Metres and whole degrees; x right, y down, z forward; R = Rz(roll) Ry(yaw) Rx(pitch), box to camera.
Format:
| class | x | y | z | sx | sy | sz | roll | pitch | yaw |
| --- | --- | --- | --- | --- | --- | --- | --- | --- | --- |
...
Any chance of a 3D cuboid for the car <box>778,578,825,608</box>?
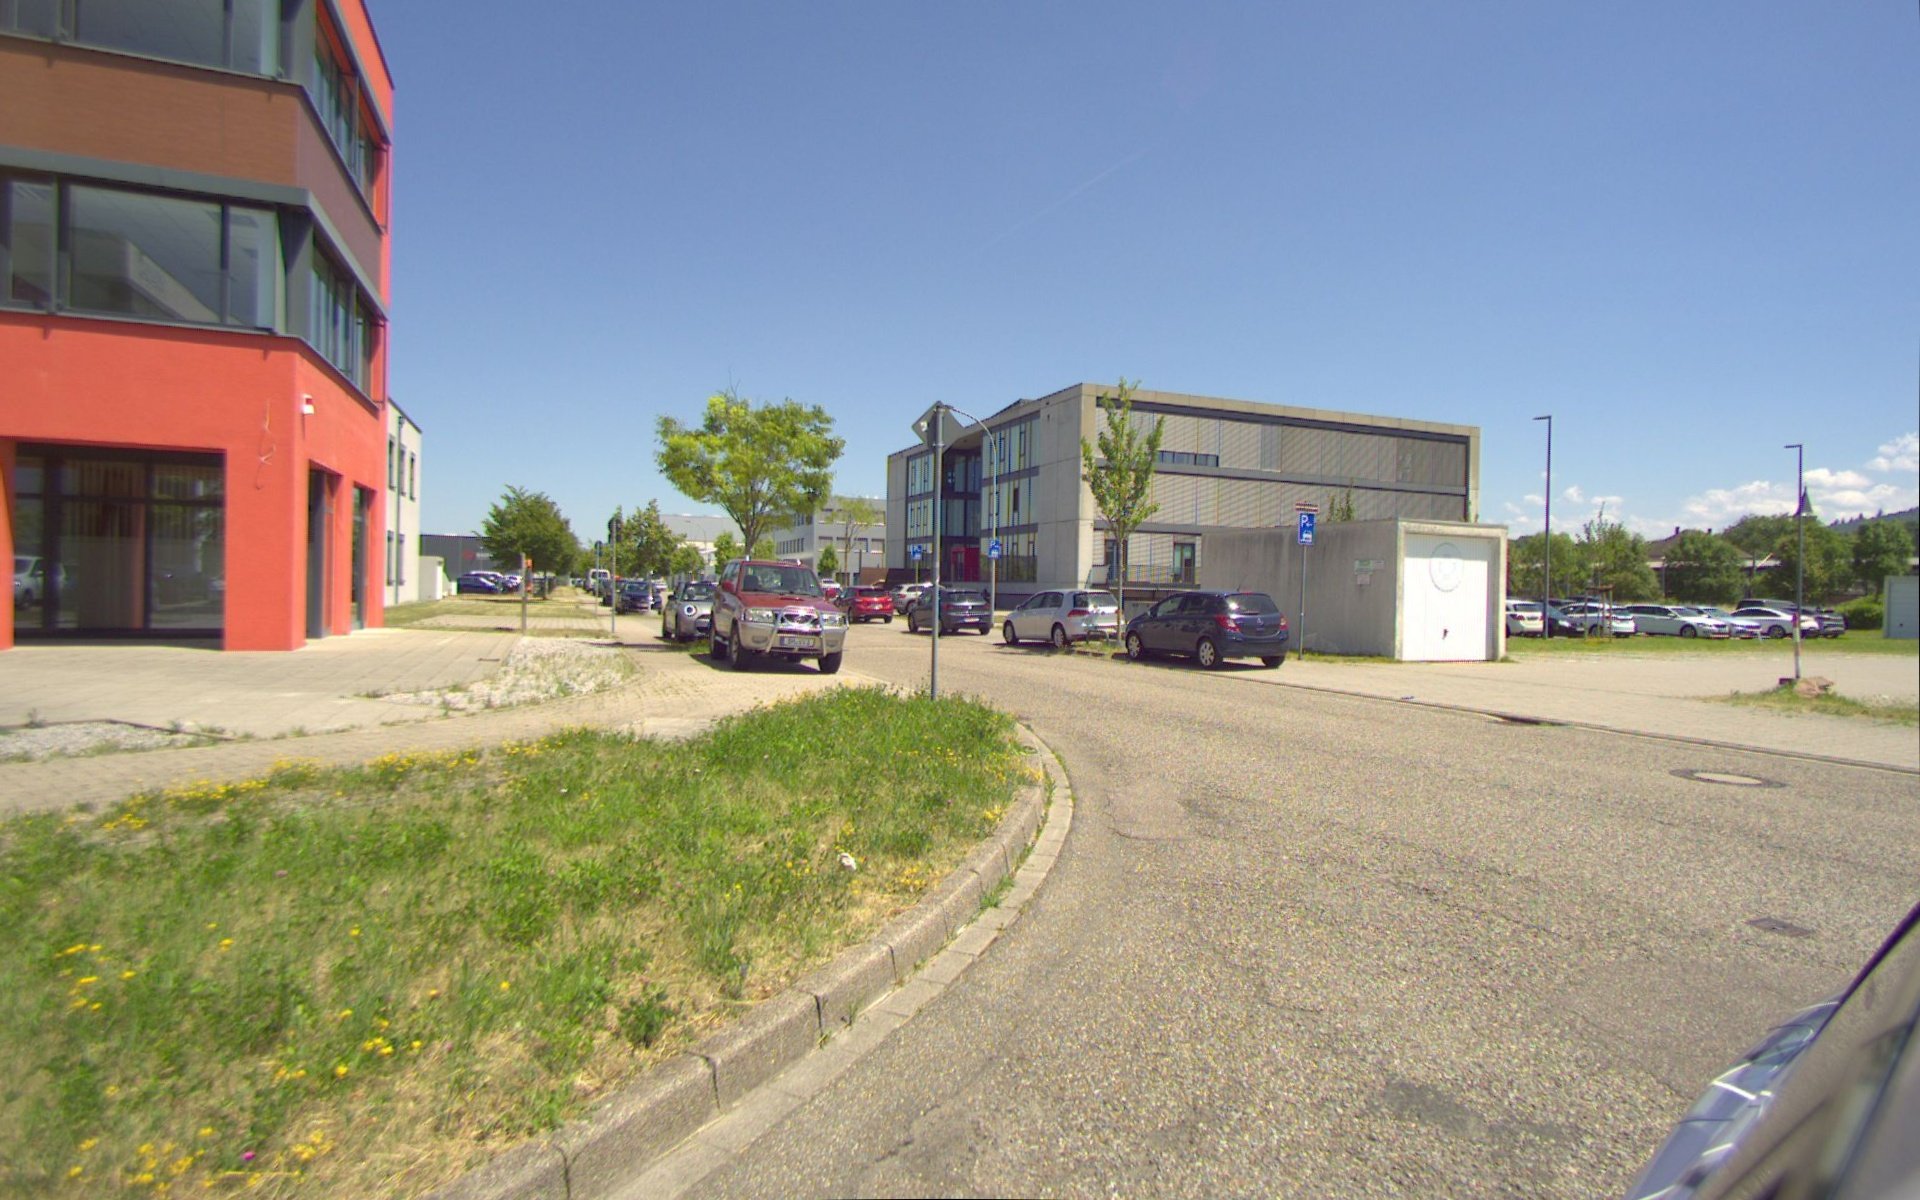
| class | x | y | z | sx | sy | sz | roll | pitch | yaw |
| --- | --- | --- | --- | --- | --- | --- | --- | --- | --- |
| car | -8.379 | -0.383 | 53.269 | 1.624 | 1.487 | 3.636 | -2 | 2 | -22 |

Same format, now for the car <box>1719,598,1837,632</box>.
| class | x | y | z | sx | sy | sz | roll | pitch | yaw |
| --- | --- | --- | --- | --- | --- | --- | --- | --- | --- |
| car | 38.633 | 0.691 | 47.897 | 1.624 | 1.443 | 4.065 | 0 | 1 | -22 |

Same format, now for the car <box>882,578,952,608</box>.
| class | x | y | z | sx | sy | sz | roll | pitch | yaw |
| --- | --- | --- | --- | --- | --- | --- | --- | --- | --- |
| car | -2.283 | -0.397 | 54.293 | 3.569 | 1.487 | 1.655 | -3 | 2 | -44 |

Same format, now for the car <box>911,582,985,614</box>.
| class | x | y | z | sx | sy | sz | roll | pitch | yaw |
| --- | --- | --- | --- | --- | --- | --- | --- | --- | --- |
| car | -0.591 | -0.140 | 51.064 | 3.569 | 1.487 | 1.655 | -3 | 2 | -44 |

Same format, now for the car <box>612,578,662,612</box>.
| class | x | y | z | sx | sy | sz | roll | pitch | yaw |
| --- | --- | --- | --- | --- | --- | --- | --- | --- | --- |
| car | -14.637 | -0.256 | 45.784 | 1.750 | 1.460 | 3.715 | 1 | 1 | -23 |

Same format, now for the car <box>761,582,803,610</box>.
| class | x | y | z | sx | sy | sz | roll | pitch | yaw |
| --- | --- | --- | --- | --- | --- | --- | --- | --- | --- |
| car | -10.195 | -0.268 | 57.826 | 1.624 | 1.487 | 3.636 | -2 | 2 | -22 |

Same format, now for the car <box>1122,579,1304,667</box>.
| class | x | y | z | sx | sy | sz | roll | pitch | yaw |
| --- | --- | --- | --- | --- | --- | --- | --- | --- | --- |
| car | 4.884 | 0.374 | 20.021 | 1.649 | 1.519 | 3.636 | -2 | 2 | -22 |

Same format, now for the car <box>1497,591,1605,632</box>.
| class | x | y | z | sx | sy | sz | roll | pitch | yaw |
| --- | --- | --- | --- | --- | --- | --- | --- | --- | --- |
| car | 24.404 | 0.450 | 41.904 | 1.624 | 1.554 | 3.636 | 0 | 1 | -22 |

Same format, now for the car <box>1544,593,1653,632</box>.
| class | x | y | z | sx | sy | sz | roll | pitch | yaw |
| --- | --- | --- | --- | --- | --- | --- | --- | --- | --- |
| car | 26.919 | 0.494 | 42.773 | 1.624 | 1.519 | 3.636 | 0 | 1 | -22 |

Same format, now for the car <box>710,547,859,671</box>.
| class | x | y | z | sx | sy | sz | roll | pitch | yaw |
| --- | --- | --- | --- | --- | --- | --- | --- | --- | --- |
| car | -3.087 | 0.136 | 17.160 | 1.772 | 1.797 | 4.008 | 3 | -1 | -19 |

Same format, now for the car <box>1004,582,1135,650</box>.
| class | x | y | z | sx | sy | sz | roll | pitch | yaw |
| --- | --- | --- | --- | --- | --- | --- | --- | --- | --- |
| car | 2.653 | 0.324 | 25.309 | 1.625 | 1.519 | 3.635 | -2 | 2 | -24 |

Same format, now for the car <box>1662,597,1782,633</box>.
| class | x | y | z | sx | sy | sz | roll | pitch | yaw |
| --- | --- | --- | --- | --- | --- | --- | --- | --- | --- |
| car | 34.332 | 0.628 | 45.717 | 1.624 | 1.485 | 4.065 | 0 | 1 | -22 |

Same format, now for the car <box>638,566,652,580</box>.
| class | x | y | z | sx | sy | sz | roll | pitch | yaw |
| --- | --- | --- | --- | --- | --- | --- | --- | --- | --- |
| car | -46.542 | -3.948 | 149.566 | 1.860 | 2.039 | 4.009 | 1 | 1 | -19 |

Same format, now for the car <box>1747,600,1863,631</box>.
| class | x | y | z | sx | sy | sz | roll | pitch | yaw |
| --- | --- | --- | --- | --- | --- | --- | --- | --- | --- |
| car | 41.395 | 0.721 | 49.680 | 1.624 | 1.404 | 4.065 | 0 | 1 | -22 |

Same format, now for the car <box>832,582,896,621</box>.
| class | x | y | z | sx | sy | sz | roll | pitch | yaw |
| --- | --- | --- | --- | --- | --- | --- | --- | --- | --- |
| car | -4.028 | 0.030 | 41.978 | 1.624 | 1.487 | 3.636 | -2 | 2 | -22 |

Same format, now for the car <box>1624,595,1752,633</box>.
| class | x | y | z | sx | sy | sz | roll | pitch | yaw |
| --- | --- | --- | --- | --- | --- | --- | --- | --- | --- |
| car | 32.096 | 0.580 | 44.760 | 1.673 | 1.485 | 4.380 | 0 | 1 | -22 |

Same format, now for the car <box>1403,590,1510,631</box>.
| class | x | y | z | sx | sy | sz | roll | pitch | yaw |
| --- | --- | --- | --- | --- | --- | --- | --- | --- | --- |
| car | 19.723 | 0.390 | 40.352 | 1.624 | 1.519 | 3.636 | 0 | 1 | -22 |

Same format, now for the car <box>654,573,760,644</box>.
| class | x | y | z | sx | sy | sz | roll | pitch | yaw |
| --- | --- | --- | --- | --- | --- | --- | --- | --- | --- |
| car | -6.047 | 0.149 | 23.907 | 1.750 | 1.460 | 3.715 | 4 | 0 | -24 |

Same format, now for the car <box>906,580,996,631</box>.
| class | x | y | z | sx | sy | sz | roll | pitch | yaw |
| --- | --- | --- | --- | --- | --- | --- | --- | --- | --- |
| car | -0.345 | 0.141 | 32.431 | 1.624 | 1.487 | 3.636 | -2 | 2 | -22 |

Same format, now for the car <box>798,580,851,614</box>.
| class | x | y | z | sx | sy | sz | roll | pitch | yaw |
| --- | --- | --- | --- | --- | --- | --- | --- | --- | --- |
| car | -6.540 | -0.182 | 48.441 | 1.624 | 1.487 | 3.636 | -2 | 2 | -22 |

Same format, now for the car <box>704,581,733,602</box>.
| class | x | y | z | sx | sy | sz | roll | pitch | yaw |
| --- | --- | --- | --- | --- | --- | --- | --- | --- | --- |
| car | -18.696 | -0.668 | 78.387 | 1.624 | 1.487 | 3.636 | -2 | 2 | -22 |

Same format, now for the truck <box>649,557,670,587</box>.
| class | x | y | z | sx | sy | sz | roll | pitch | yaw |
| --- | --- | --- | --- | --- | --- | --- | --- | --- | --- |
| truck | -37.546 | -3.439 | 126.372 | 1.765 | 3.631 | 7.449 | 1 | 1 | -22 |

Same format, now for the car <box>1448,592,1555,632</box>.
| class | x | y | z | sx | sy | sz | roll | pitch | yaw |
| --- | --- | --- | --- | --- | --- | --- | --- | --- | --- |
| car | 21.999 | 0.456 | 41.222 | 1.624 | 1.519 | 3.636 | 0 | 1 | -22 |
